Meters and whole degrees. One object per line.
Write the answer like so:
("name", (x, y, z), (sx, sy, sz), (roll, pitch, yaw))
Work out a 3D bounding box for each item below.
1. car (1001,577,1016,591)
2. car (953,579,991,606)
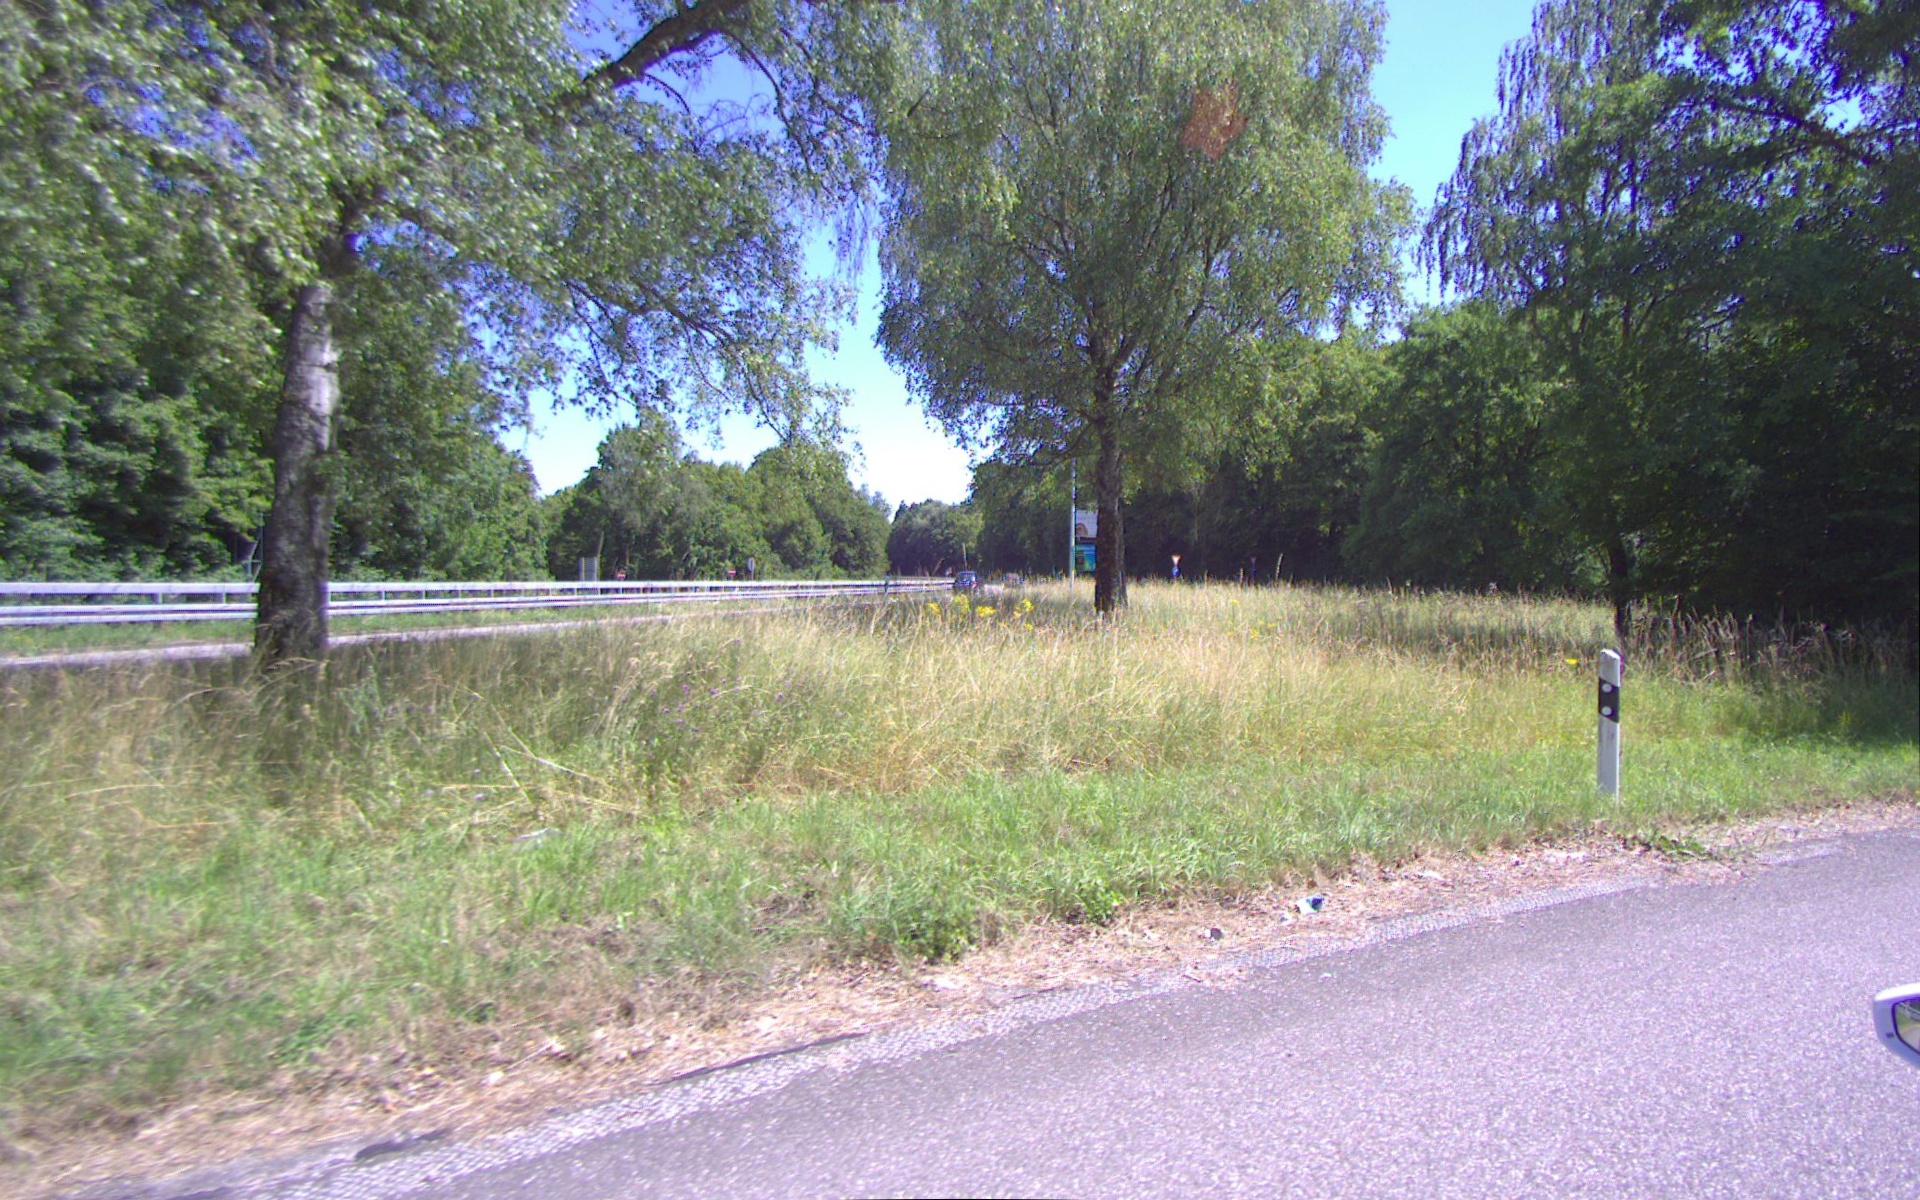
("car", (5.190, -1.709, 107.574), (1.500, 1.331, 3.415), (-1, 0, 2))
("car", (0.769, -0.446, 60.450), (1.488, 1.521, 3.591), (-1, 0, 14))
